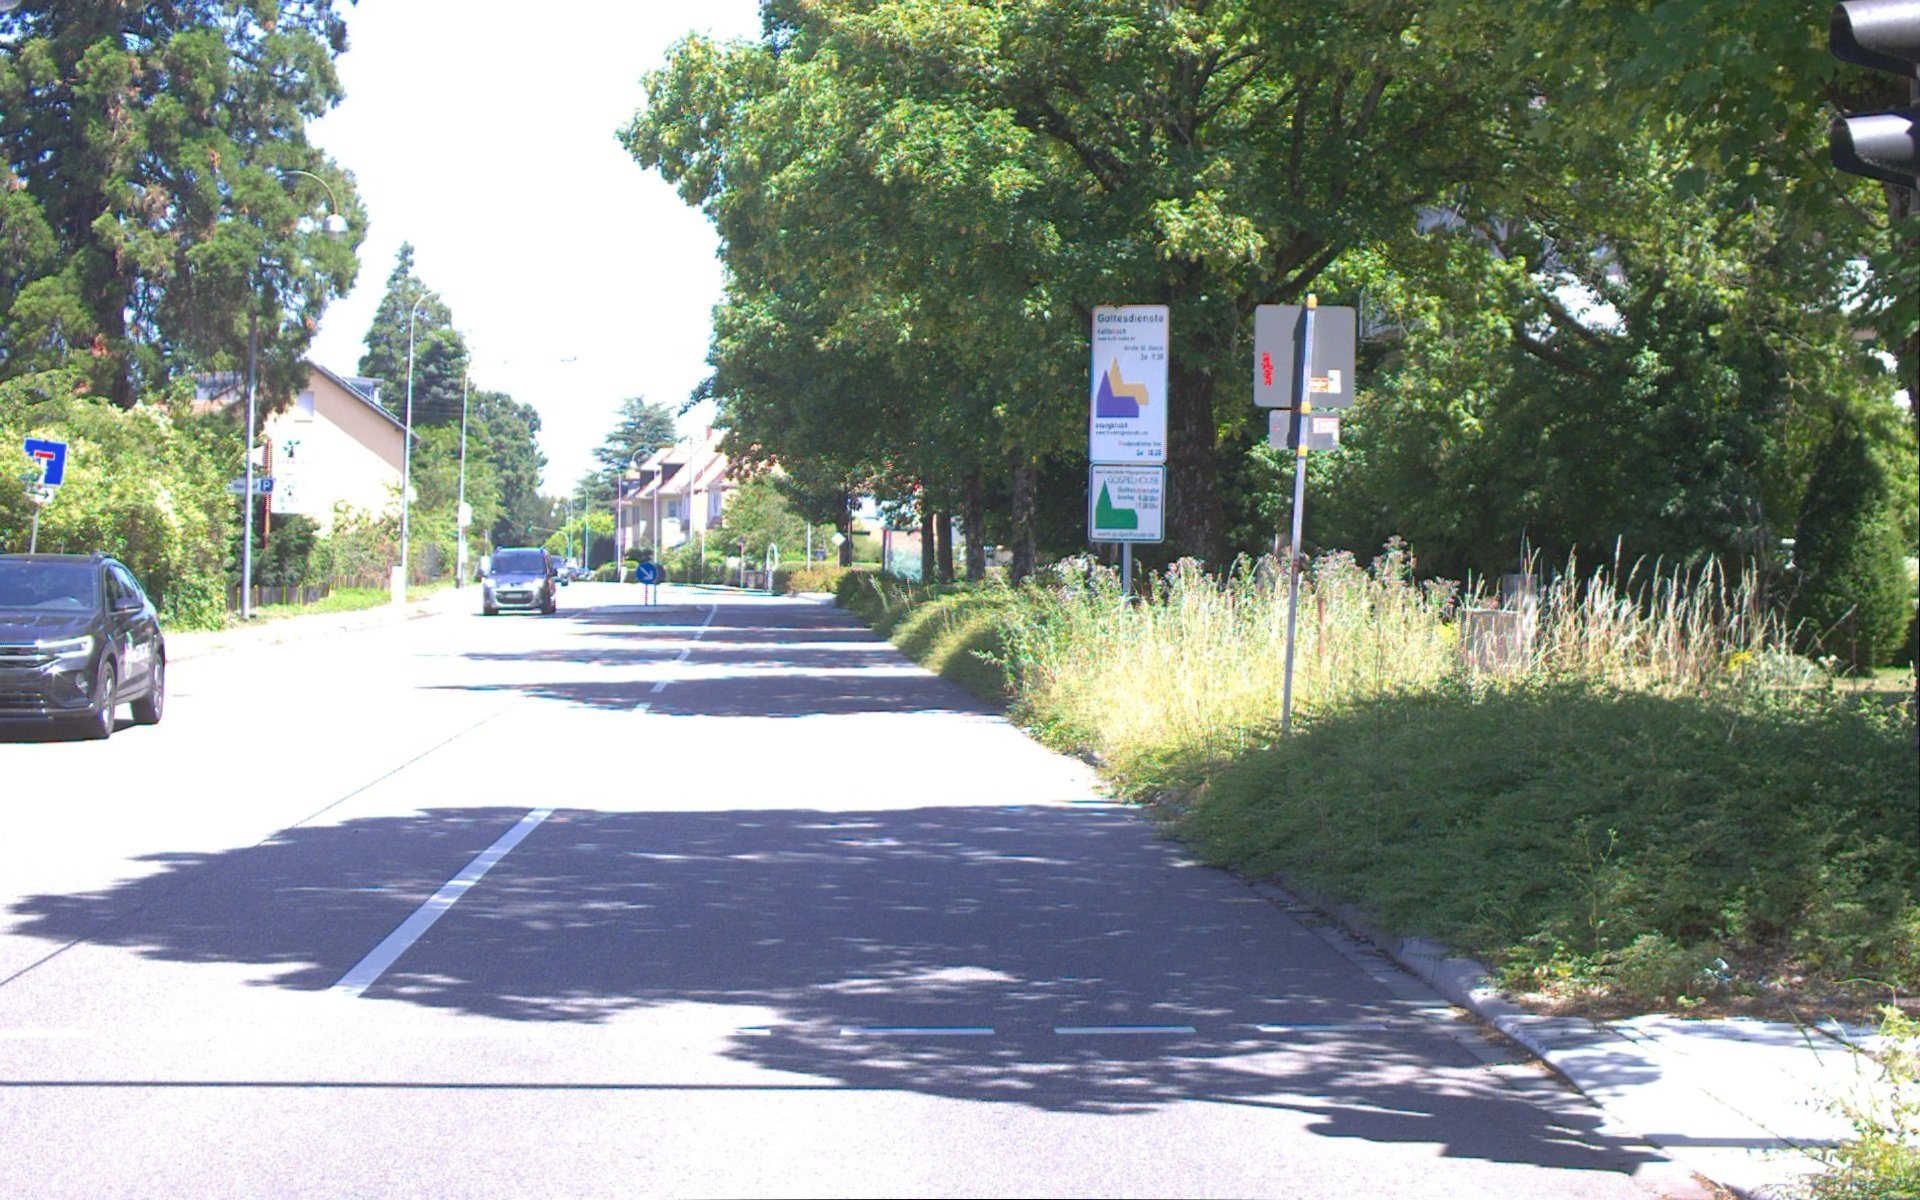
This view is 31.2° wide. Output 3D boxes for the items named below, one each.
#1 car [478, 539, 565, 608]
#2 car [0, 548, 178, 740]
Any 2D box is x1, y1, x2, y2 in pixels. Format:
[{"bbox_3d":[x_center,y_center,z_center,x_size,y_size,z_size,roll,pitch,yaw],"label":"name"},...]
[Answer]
[{"bbox_3d":[-11.718,-0.728,92.068,1.811,1.756,4.570,1,1,-1],"label":"car"},{"bbox_3d":[-7.836,0.315,28.967,1.869,1.501,4.053,0,1,-5],"label":"car"}]
